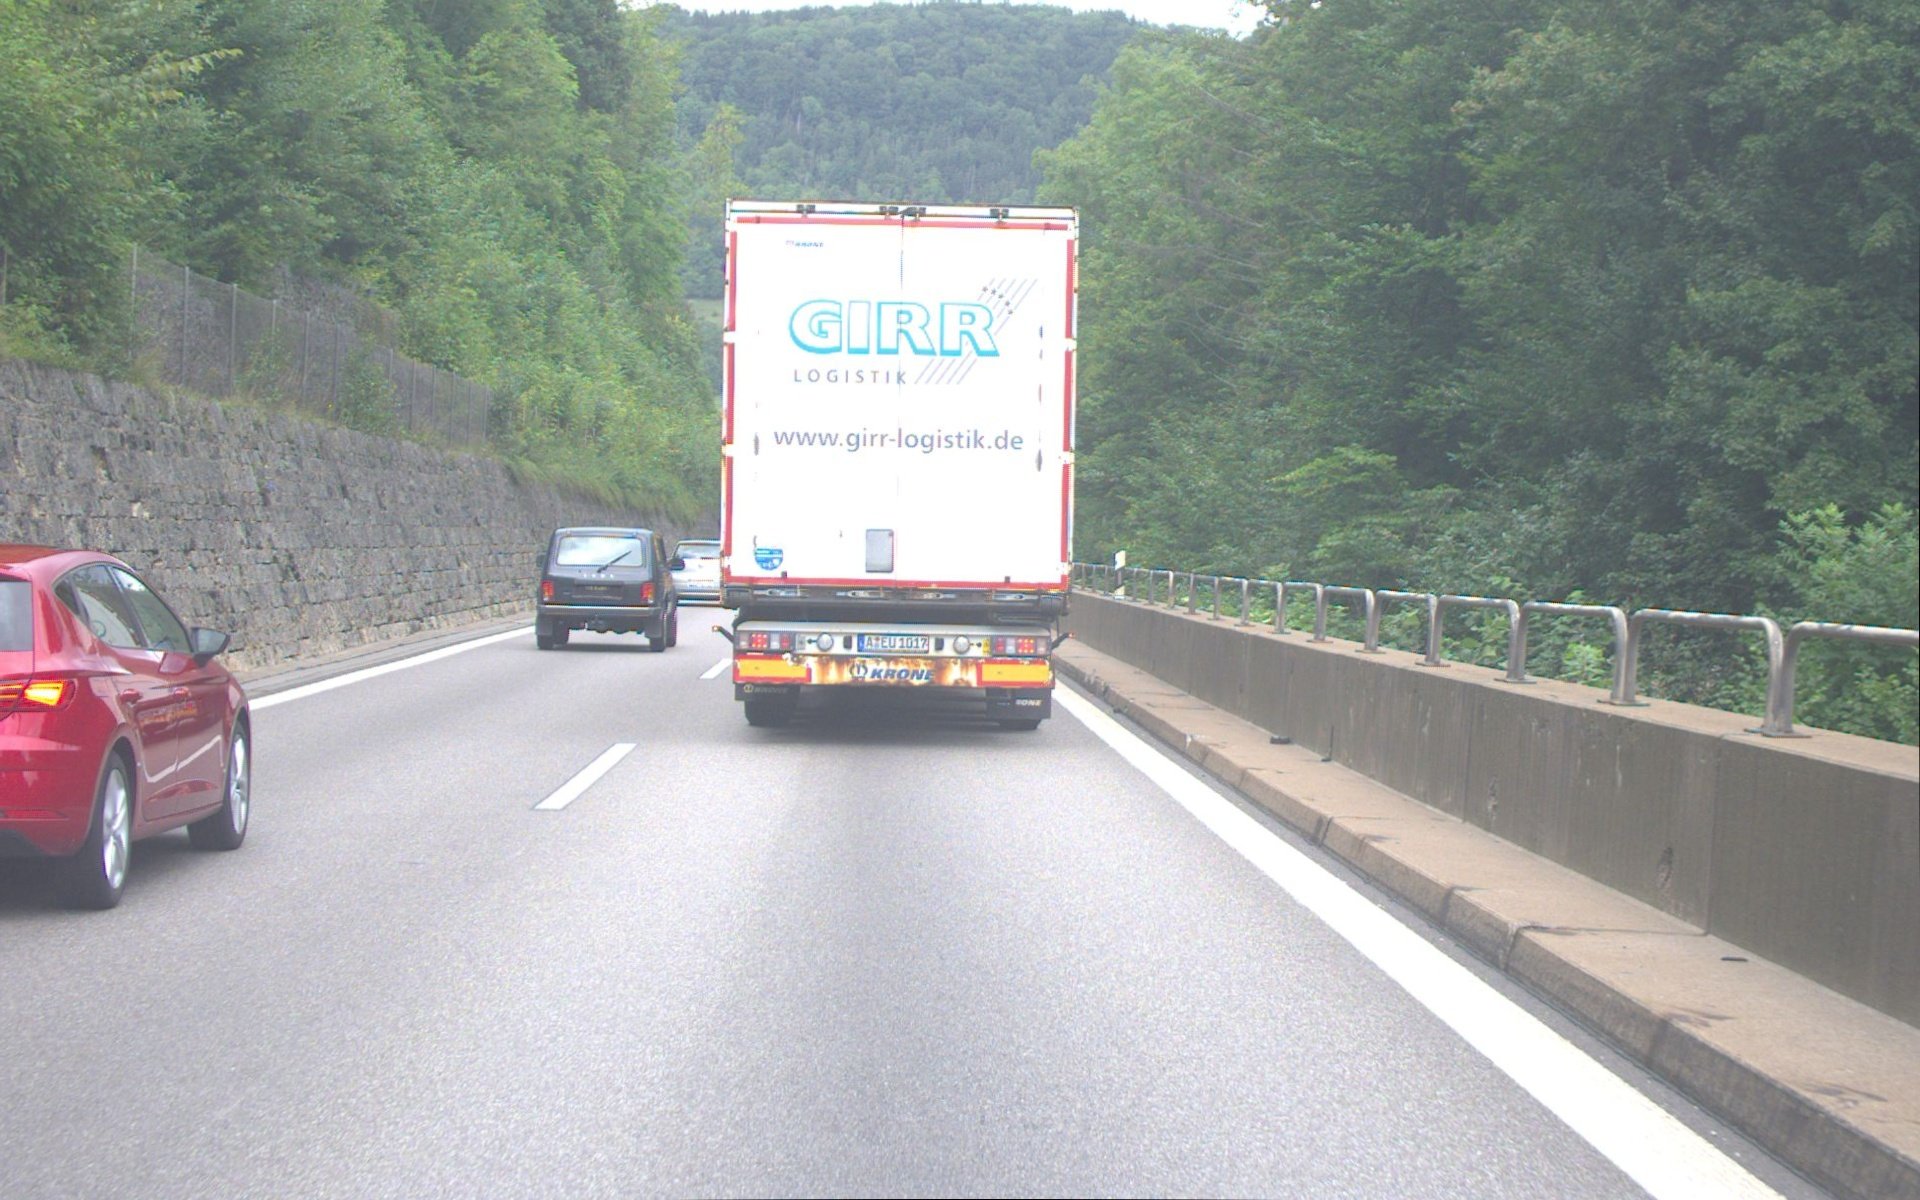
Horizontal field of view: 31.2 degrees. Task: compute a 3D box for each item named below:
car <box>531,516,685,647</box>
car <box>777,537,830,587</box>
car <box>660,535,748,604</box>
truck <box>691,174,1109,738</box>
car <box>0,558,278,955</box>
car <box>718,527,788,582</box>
[{"bbox_3d":[-4.620,-0.255,45.610,1.669,1.633,4.068,1,0,-1],"label":"car"},{"bbox_3d":[-6.534,-1.563,143.854,1.993,2.007,4.000,1,0,0],"label":"car"},{"bbox_3d":[-5.673,-0.679,76.579,1.729,1.481,4.000,1,0,-1],"label":"car"},{"bbox_3d":[-0.469,-1.078,28.946,2.908,3.947,9.279,1,1,-1],"label":"truck"},{"bbox_3d":[-4.179,0.545,14.785,1.766,1.455,4.412,1,0,-2],"label":"car"},{"bbox_3d":[-6.162,-1.345,102.625,1.917,1.589,4.179,1,0,-1],"label":"car"}]
